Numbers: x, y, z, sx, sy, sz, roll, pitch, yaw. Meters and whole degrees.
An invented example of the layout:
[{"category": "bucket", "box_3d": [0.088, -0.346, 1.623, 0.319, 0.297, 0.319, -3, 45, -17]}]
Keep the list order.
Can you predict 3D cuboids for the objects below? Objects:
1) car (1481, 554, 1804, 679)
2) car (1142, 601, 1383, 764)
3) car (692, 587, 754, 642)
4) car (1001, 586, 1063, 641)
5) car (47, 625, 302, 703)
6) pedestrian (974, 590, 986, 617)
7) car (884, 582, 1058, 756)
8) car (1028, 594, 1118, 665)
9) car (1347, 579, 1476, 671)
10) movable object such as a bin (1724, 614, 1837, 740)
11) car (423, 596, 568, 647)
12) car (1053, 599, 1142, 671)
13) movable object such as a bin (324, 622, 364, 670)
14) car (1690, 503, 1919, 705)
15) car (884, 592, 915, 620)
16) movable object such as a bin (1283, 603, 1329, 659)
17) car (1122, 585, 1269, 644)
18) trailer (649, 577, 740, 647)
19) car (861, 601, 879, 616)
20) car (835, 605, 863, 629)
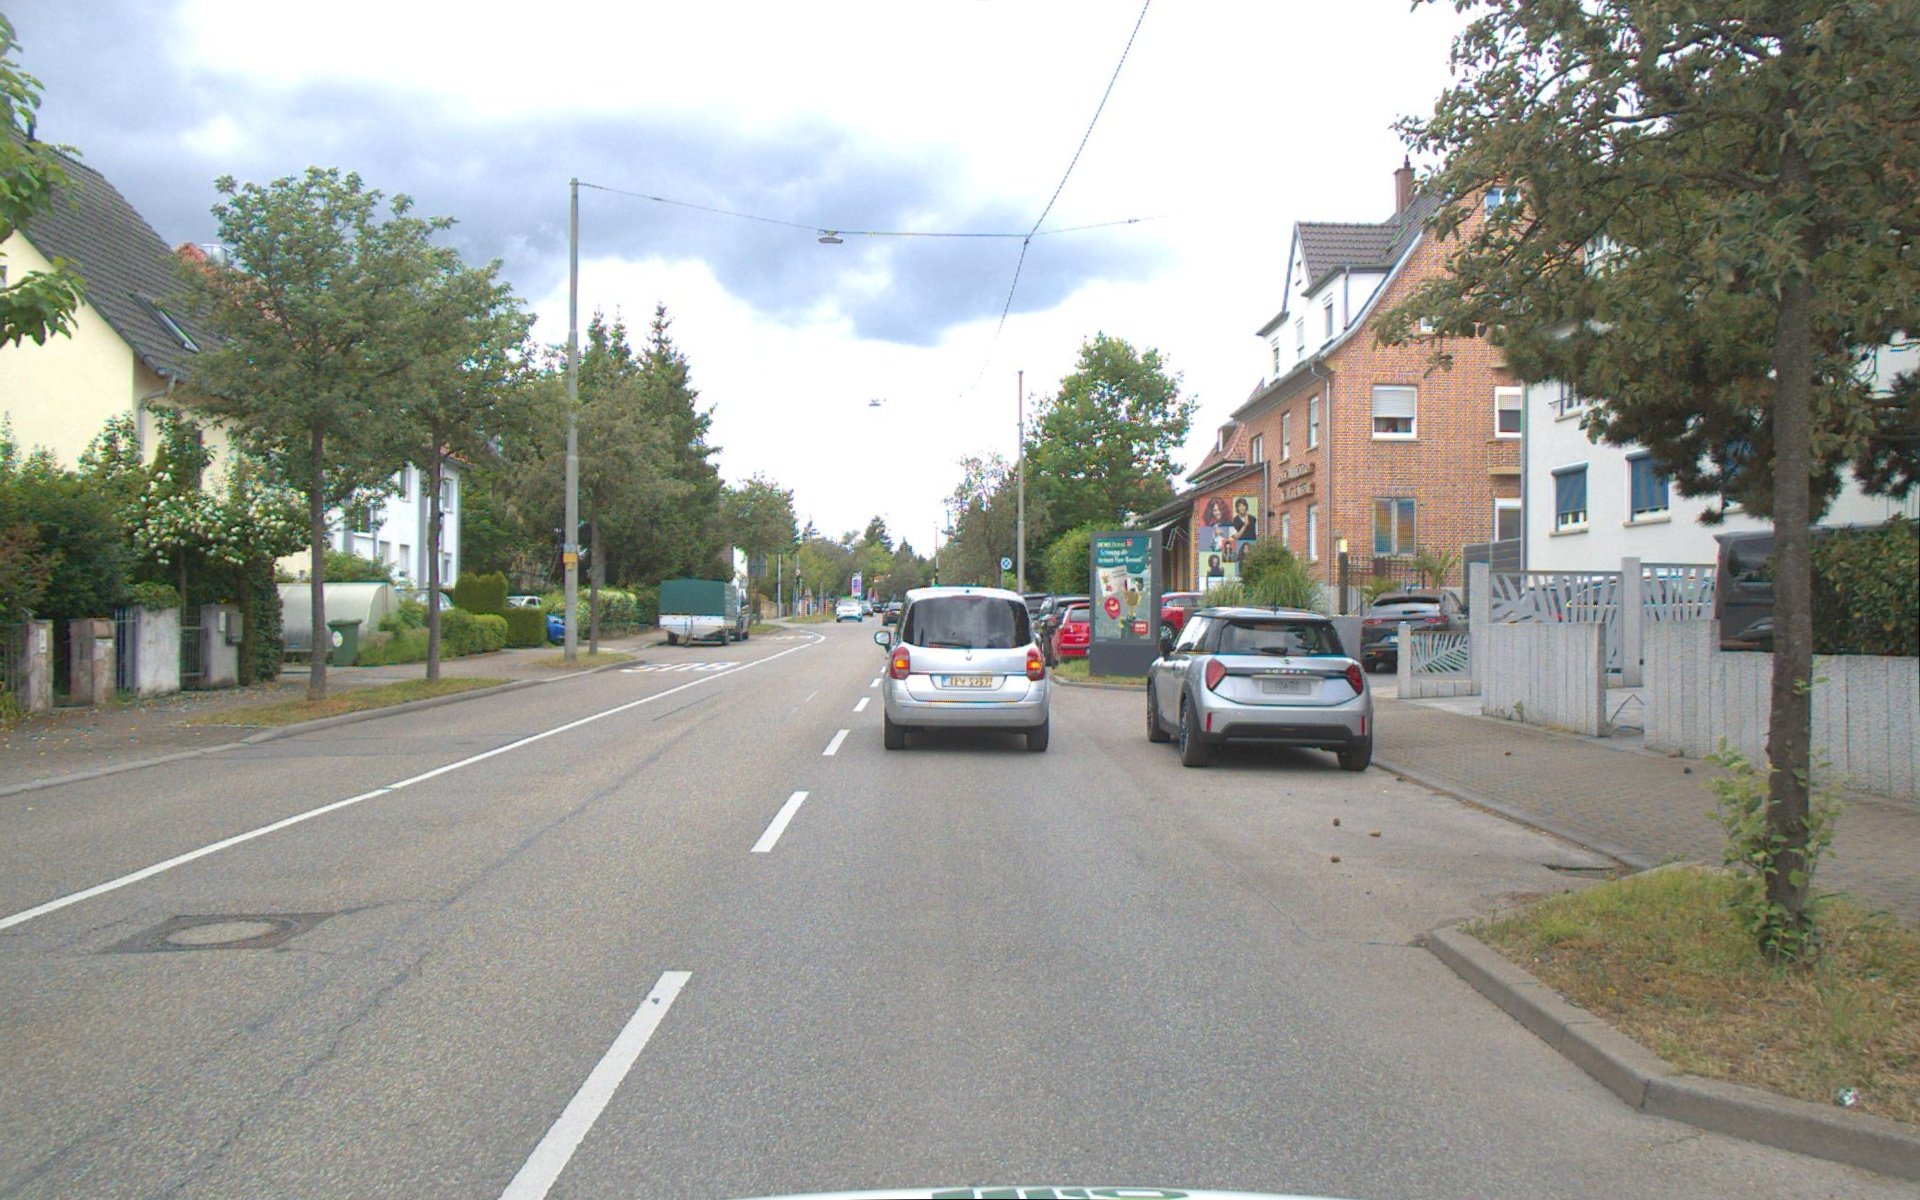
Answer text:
[{"category": "car", "box_3d": [10.329, 0.269, 25.154, 4.182, 1.532, 1.691, -4, -2, -9]}, {"category": "car", "box_3d": [2.863, 0.753, 16.440, 1.616, 1.407, 3.999, 1, -1, -1]}, {"category": "car", "box_3d": [-8.959, 0.565, 62.893, 1.850, 1.956, 4.559, 1, -1, -3]}, {"category": "car", "box_3d": [2.417, 0.462, 56.326, 1.776, 1.773, 3.998, -1, -1, -2]}, {"category": "car", "box_3d": [-14.827, 1.186, 31.420, 3.991, 1.309, 1.752, -1, 0, -9]}, {"category": "pedestrian", "box_3d": [1.266, 0.202, 104.358, 0.691, 1.675, 0.773, 0, 0, -2]}, {"category": "car", "box_3d": [0.086, 0.679, 17.528, 1.597, 1.584, 3.999, 1, -1, -1]}, {"category": "car", "box_3d": [2.666, 0.665, 39.705, 1.629, 1.592, 4.095, 0, 0, -4]}, {"category": "car", "box_3d": [8.379, 0.409, 30.459, 1.781, 1.404, 4.481, -4, 0, 21]}, {"category": "movable object such as a bin", "box_3d": [7.447, 0.696, 15.020, 0.584, 1.075, 0.611, -4, -1, -22]}, {"category": "car", "box_3d": [-13.483, 0.640, 48.180, 3.916, 1.361, 1.573, 2, -2, -11]}, {"category": "car", "box_3d": [2.886, 0.713, 35.262, 1.628, 1.417, 3.668, -1, 0, 1]}, {"category": "movable object such as a bin", "box_3d": [-12.182, 0.905, 32.704, 0.568, 0.917, 0.542, -1, -1, 42]}, {"category": "car", "box_3d": [10.462, 0.001, 17.581, 1.950, 2.048, 4.682, -4, -1, -27]}, {"category": "car", "box_3d": [-3.654, 0.367, 100.307, 1.792, 1.705, 3.573, 0, 0, -1]}, {"category": "movable object such as a bin", "box_3d": [7.002, 0.620, 33.513, 0.760, 1.123, 0.691, 0, 0, -2]}, {"category": "car", "box_3d": [6.983, 0.424, 49.207, 3.915, 1.522, 1.806, -3, 0, -10]}, {"category": "trailer", "box_3d": [-8.726, 0.415, 54.918, 2.266, 2.123, 5.869, 1, -1, -3]}, {"category": "car", "box_3d": [-9.108, 0.899, 167.757, 1.688, 1.436, 3.996, 2, -1, -4]}, {"category": "car", "box_3d": [-8.083, 1.243, 120.235, 1.869, 1.646, 3.994, 1, -1, -6]}]
